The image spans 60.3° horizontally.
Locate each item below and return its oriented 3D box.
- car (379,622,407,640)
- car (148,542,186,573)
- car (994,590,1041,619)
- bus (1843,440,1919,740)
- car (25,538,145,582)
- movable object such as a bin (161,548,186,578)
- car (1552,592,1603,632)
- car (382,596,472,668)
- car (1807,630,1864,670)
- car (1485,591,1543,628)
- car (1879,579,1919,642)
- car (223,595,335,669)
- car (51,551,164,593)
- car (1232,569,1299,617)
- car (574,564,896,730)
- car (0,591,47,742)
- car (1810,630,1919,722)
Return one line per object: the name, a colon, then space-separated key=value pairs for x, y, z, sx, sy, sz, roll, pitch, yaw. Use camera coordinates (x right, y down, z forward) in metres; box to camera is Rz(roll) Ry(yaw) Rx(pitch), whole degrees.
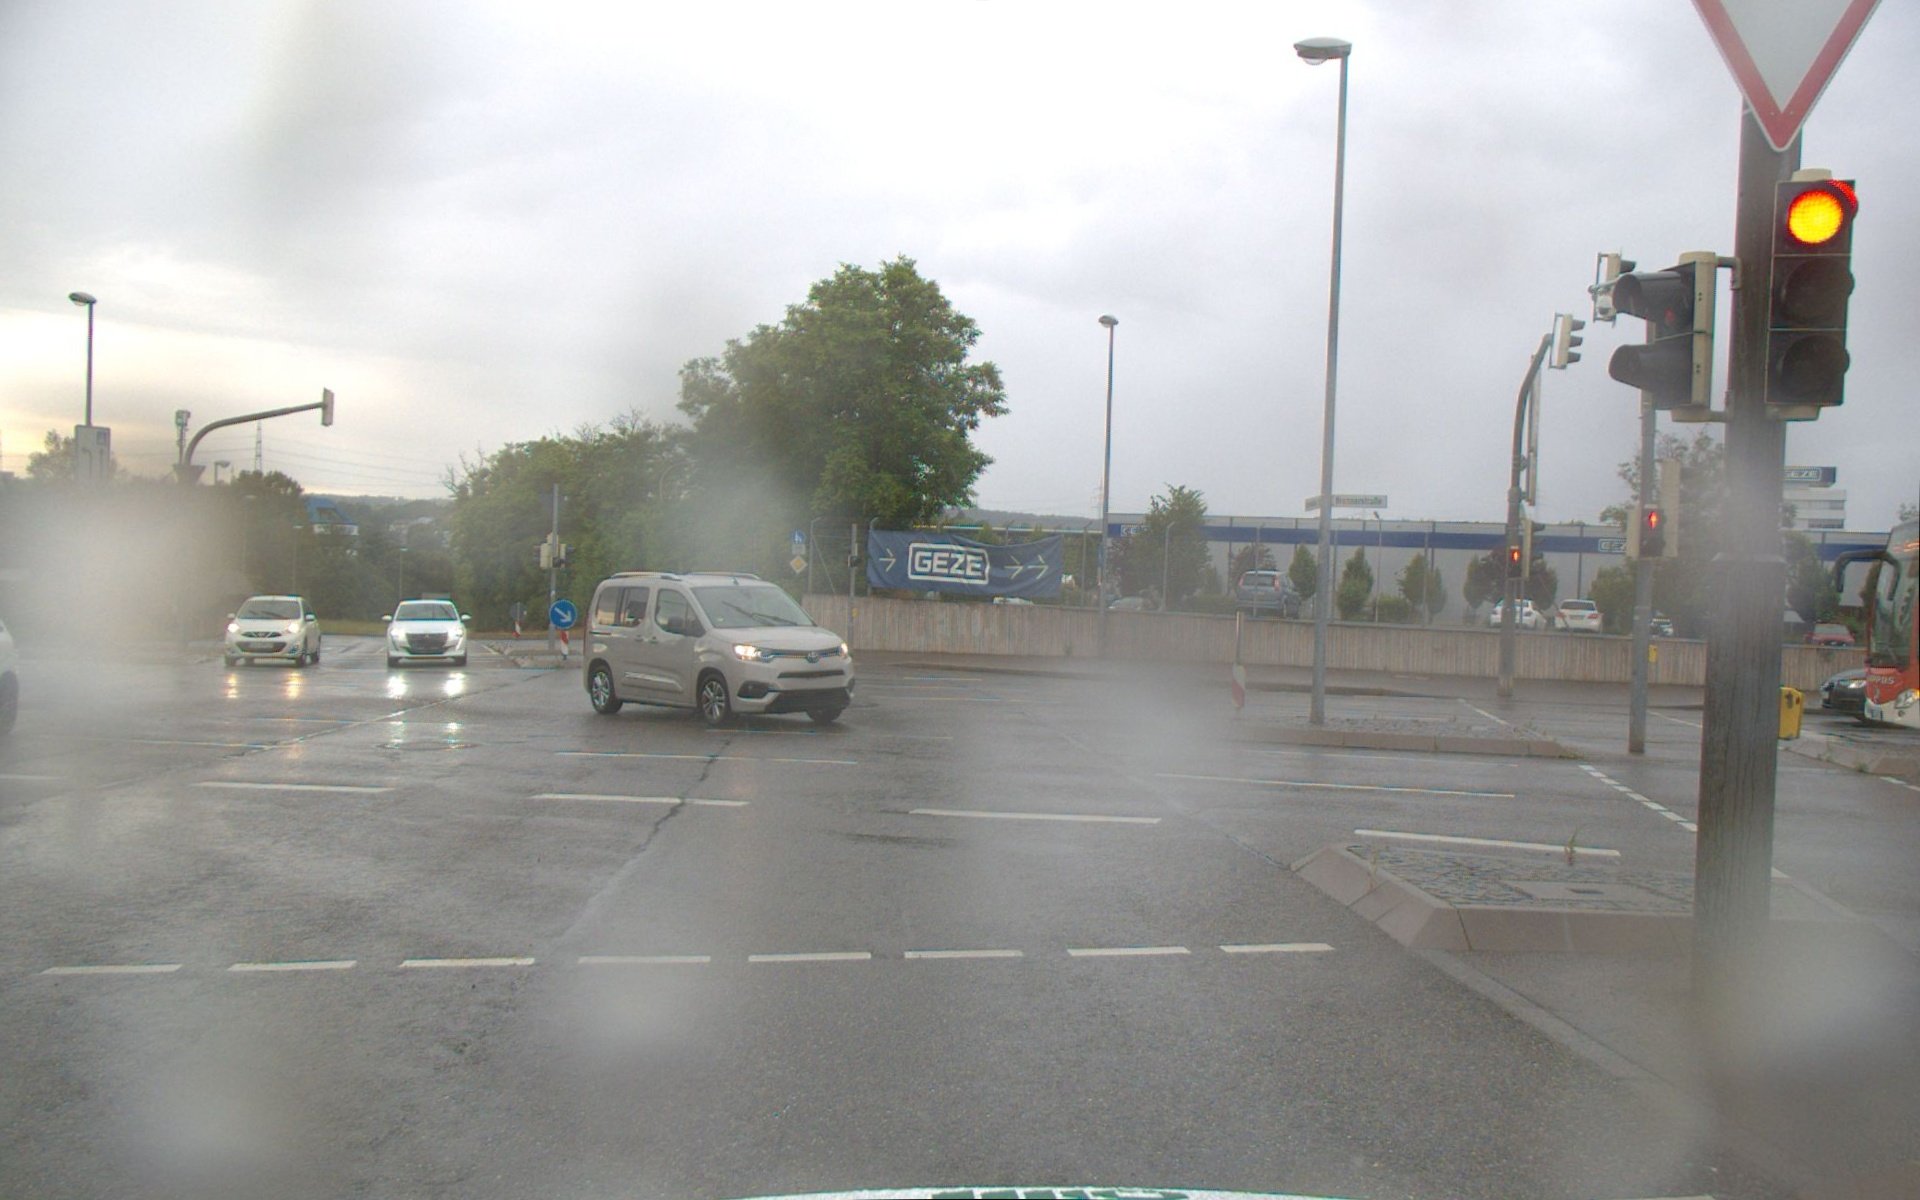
car: x=-49.756 y=2.741 z=145.138 sx=1.631 sy=1.521 sz=3.990 roll=1 pitch=-1 yaw=-10
car: x=-44.959 y=-2.396 z=93.683 sx=1.806 sy=1.467 sz=3.964 roll=3 pitch=-2 yaw=-27
car: x=3.357 y=0.286 z=95.942 sx=1.632 sy=1.634 sz=3.531 roll=1 pitch=0 yaw=20
bus: x=17.711 y=0.196 z=19.901 sx=11.995 sy=3.638 sz=2.988 roll=3 pitch=0 yaw=17
car: x=-35.845 y=-1.624 z=67.821 sx=3.902 sy=1.614 sz=1.903 roll=1 pitch=-2 yaw=8
movable object such as a bin: x=-40.958 y=-1.913 z=86.161 sx=1.071 sy=1.462 sz=1.434 roll=3 pitch=-2 yaw=-27
car: x=25.454 y=0.488 z=68.097 sx=1.820 sy=1.552 sz=4.103 roll=1 pitch=0 yaw=22
car: x=-12.242 y=0.696 z=37.831 sx=1.837 sy=1.534 sz=3.958 roll=1 pitch=0 yaw=-20
car: x=39.233 y=2.230 z=74.163 sx=1.883 sy=1.616 sz=3.788 roll=2 pitch=0 yaw=22
car: x=23.039 y=0.402 z=68.691 sx=1.781 sy=1.459 sz=4.100 roll=1 pitch=0 yaw=25
car: x=32.389 y=0.361 z=55.955 sx=1.707 sy=2.049 sz=3.824 roll=1 pitch=0 yaw=20
car: x=-15.391 y=0.681 z=37.537 sx=1.591 sy=1.531 sz=3.813 roll=0 pitch=1 yaw=-11
car: x=-36.487 y=-1.177 z=70.844 sx=3.902 sy=1.614 sz=1.903 roll=1 pitch=-2 yaw=12
car: x=10.653 y=-0.226 z=57.594 sx=1.707 sy=1.580 sz=3.531 roll=1 pitch=0 yaw=20
car: x=-2.951 y=0.525 z=20.982 sx=1.982 sy=1.876 sz=4.418 roll=1 pitch=0 yaw=-40
car: x=-10.419 y=0.684 z=15.729 sx=1.634 sy=1.531 sz=4.313 roll=-1 pitch=0 yaw=-9
car: x=16.295 y=1.255 z=26.679 sx=4.286 sy=1.378 sz=1.827 roll=2 pitch=0 yaw=16
